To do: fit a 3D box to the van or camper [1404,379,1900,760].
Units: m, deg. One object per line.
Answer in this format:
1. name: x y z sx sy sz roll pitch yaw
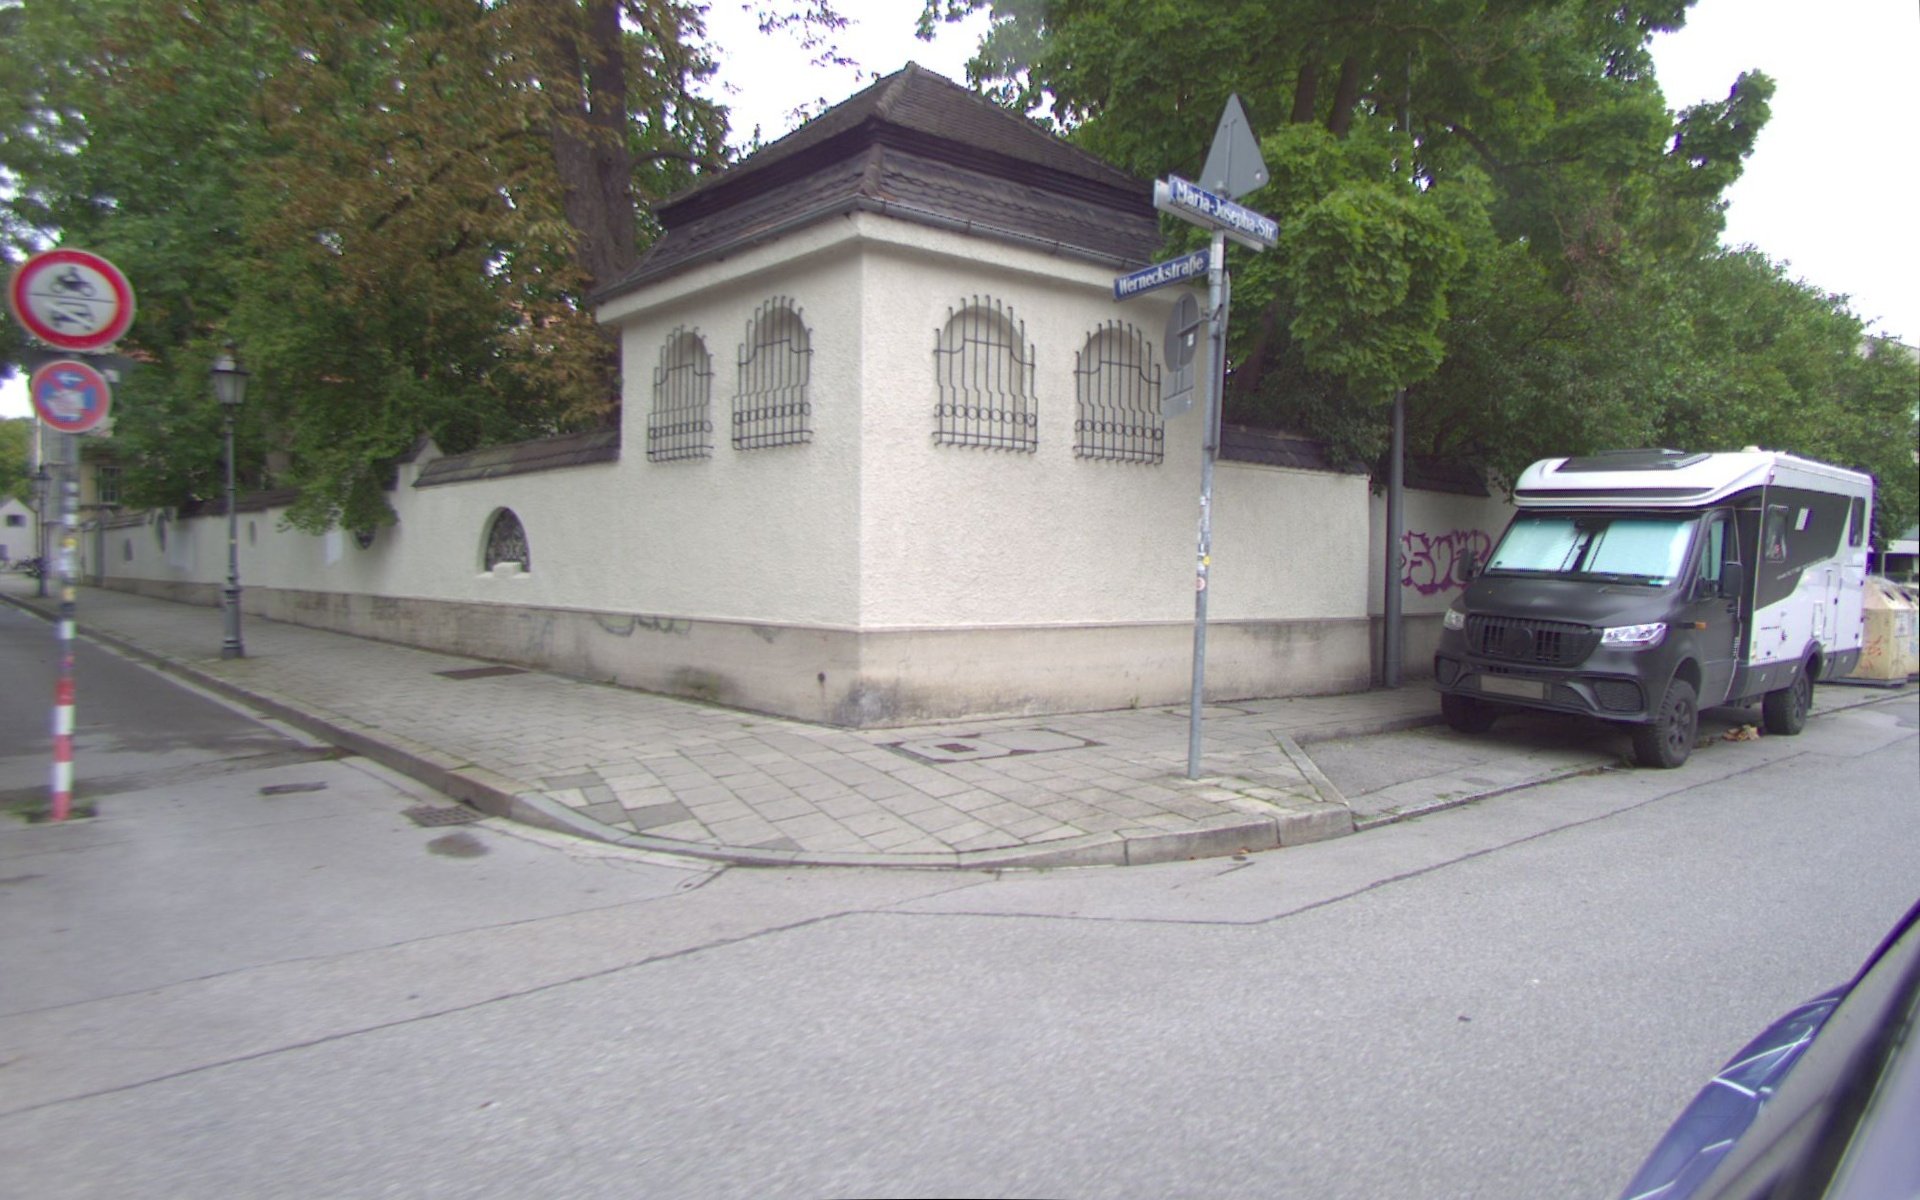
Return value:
1. van or camper: 7.766 -0.294 10.915 7.143 2.942 2.279 0 2 -38
